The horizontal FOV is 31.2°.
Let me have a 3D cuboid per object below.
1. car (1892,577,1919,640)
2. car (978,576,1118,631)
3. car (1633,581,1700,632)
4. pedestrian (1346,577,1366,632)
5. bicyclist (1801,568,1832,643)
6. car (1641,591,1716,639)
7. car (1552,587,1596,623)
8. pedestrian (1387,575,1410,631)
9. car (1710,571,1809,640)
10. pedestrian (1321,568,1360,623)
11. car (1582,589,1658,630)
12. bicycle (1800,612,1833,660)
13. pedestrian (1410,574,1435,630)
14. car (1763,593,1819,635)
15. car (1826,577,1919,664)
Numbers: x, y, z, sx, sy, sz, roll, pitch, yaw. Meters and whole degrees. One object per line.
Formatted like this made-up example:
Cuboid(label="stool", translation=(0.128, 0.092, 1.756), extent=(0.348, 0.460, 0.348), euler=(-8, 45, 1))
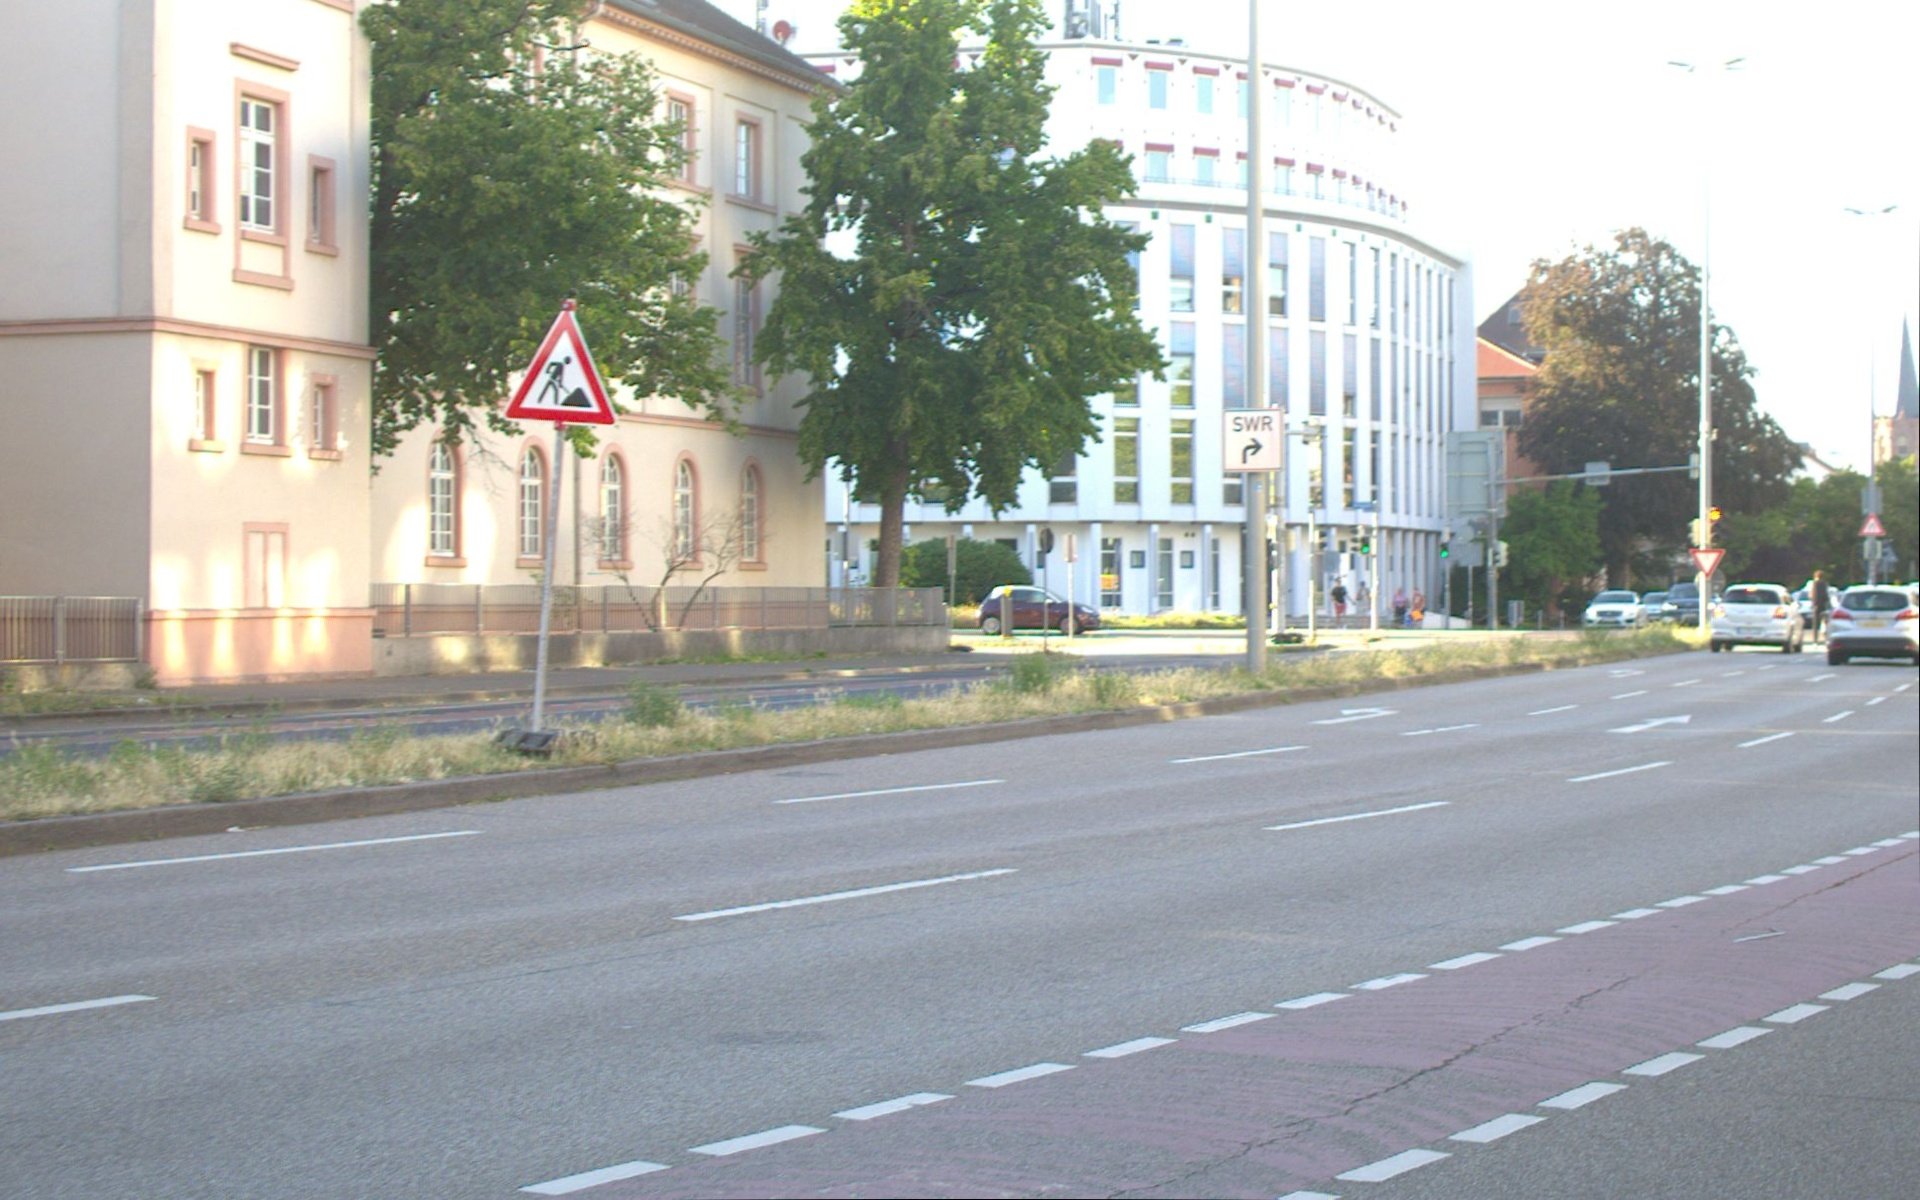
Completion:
Cuboid(label="car", translation=(23.853, 0.201, 84.323), extent=(1.683, 1.499, 3.719), euler=(0, 0, 19))
Cuboid(label="car", translation=(2.627, 0.114, 101.914), extent=(3.811, 1.525, 1.862), euler=(-1, -2, 15))
Cuboid(label="car", translation=(26.942, 0.264, 131.022), extent=(1.843, 1.810, 3.995), euler=(-1, -2, 20))
Cuboid(label="pedestrian", translation=(13.425, 0.151, 116.524), extent=(0.660, 1.852, 0.778), euler=(0, 0, 6))
Cuboid(label="bicyclist", translation=(19.952, 0.124, 80.060), extent=(0.691, 1.722, 0.987), euler=(0, 0, 15))
Cuboid(label="car", translation=(24.082, 0.478, 115.133), extent=(1.995, 1.573, 4.895), euler=(0, 0, 17))
Cuboid(label="car", translation=(27.160, 0.194, 151.995), extent=(1.842, 1.566, 3.998), euler=(0, 0, 11))
Cuboid(label="pedestrian", translation=(14.690, 0.096, 115.102), extent=(0.660, 1.862, 0.778), euler=(0, 0, 16))
Cuboid(label="car", translation=(17.548, 0.102, 75.369), extent=(1.686, 1.452, 3.996), euler=(1, 1, 19))
Cuboid(label="pedestrian", translation=(14.040, -0.177, 126.808), extent=(1.093, 2.007, 1.034), euler=(0, 0, 29))
Cuboid(label="car", translation=(23.396, 0.314, 121.751), extent=(1.995, 1.408, 4.439), euler=(-1, 0, 19))
Cuboid(label="bicycle", translation=(19.983, 0.825, 80.155), extent=(0.700, 1.096, 2.256), euler=(0, 0, 15))
Cuboid(label="pedestrian", translation=(15.440, 0.079, 114.749), extent=(0.627, 1.862, 1.126), euler=(0, 0, 20))
Cuboid(label="car", translation=(29.985, 0.487, 123.920), extent=(1.849, 1.456, 4.047), euler=(0, 0, 15))
Cuboid(label="car", translation=(17.241, 0.358, 64.238), extent=(1.750, 1.559, 4.046), euler=(0, 0, 18))
